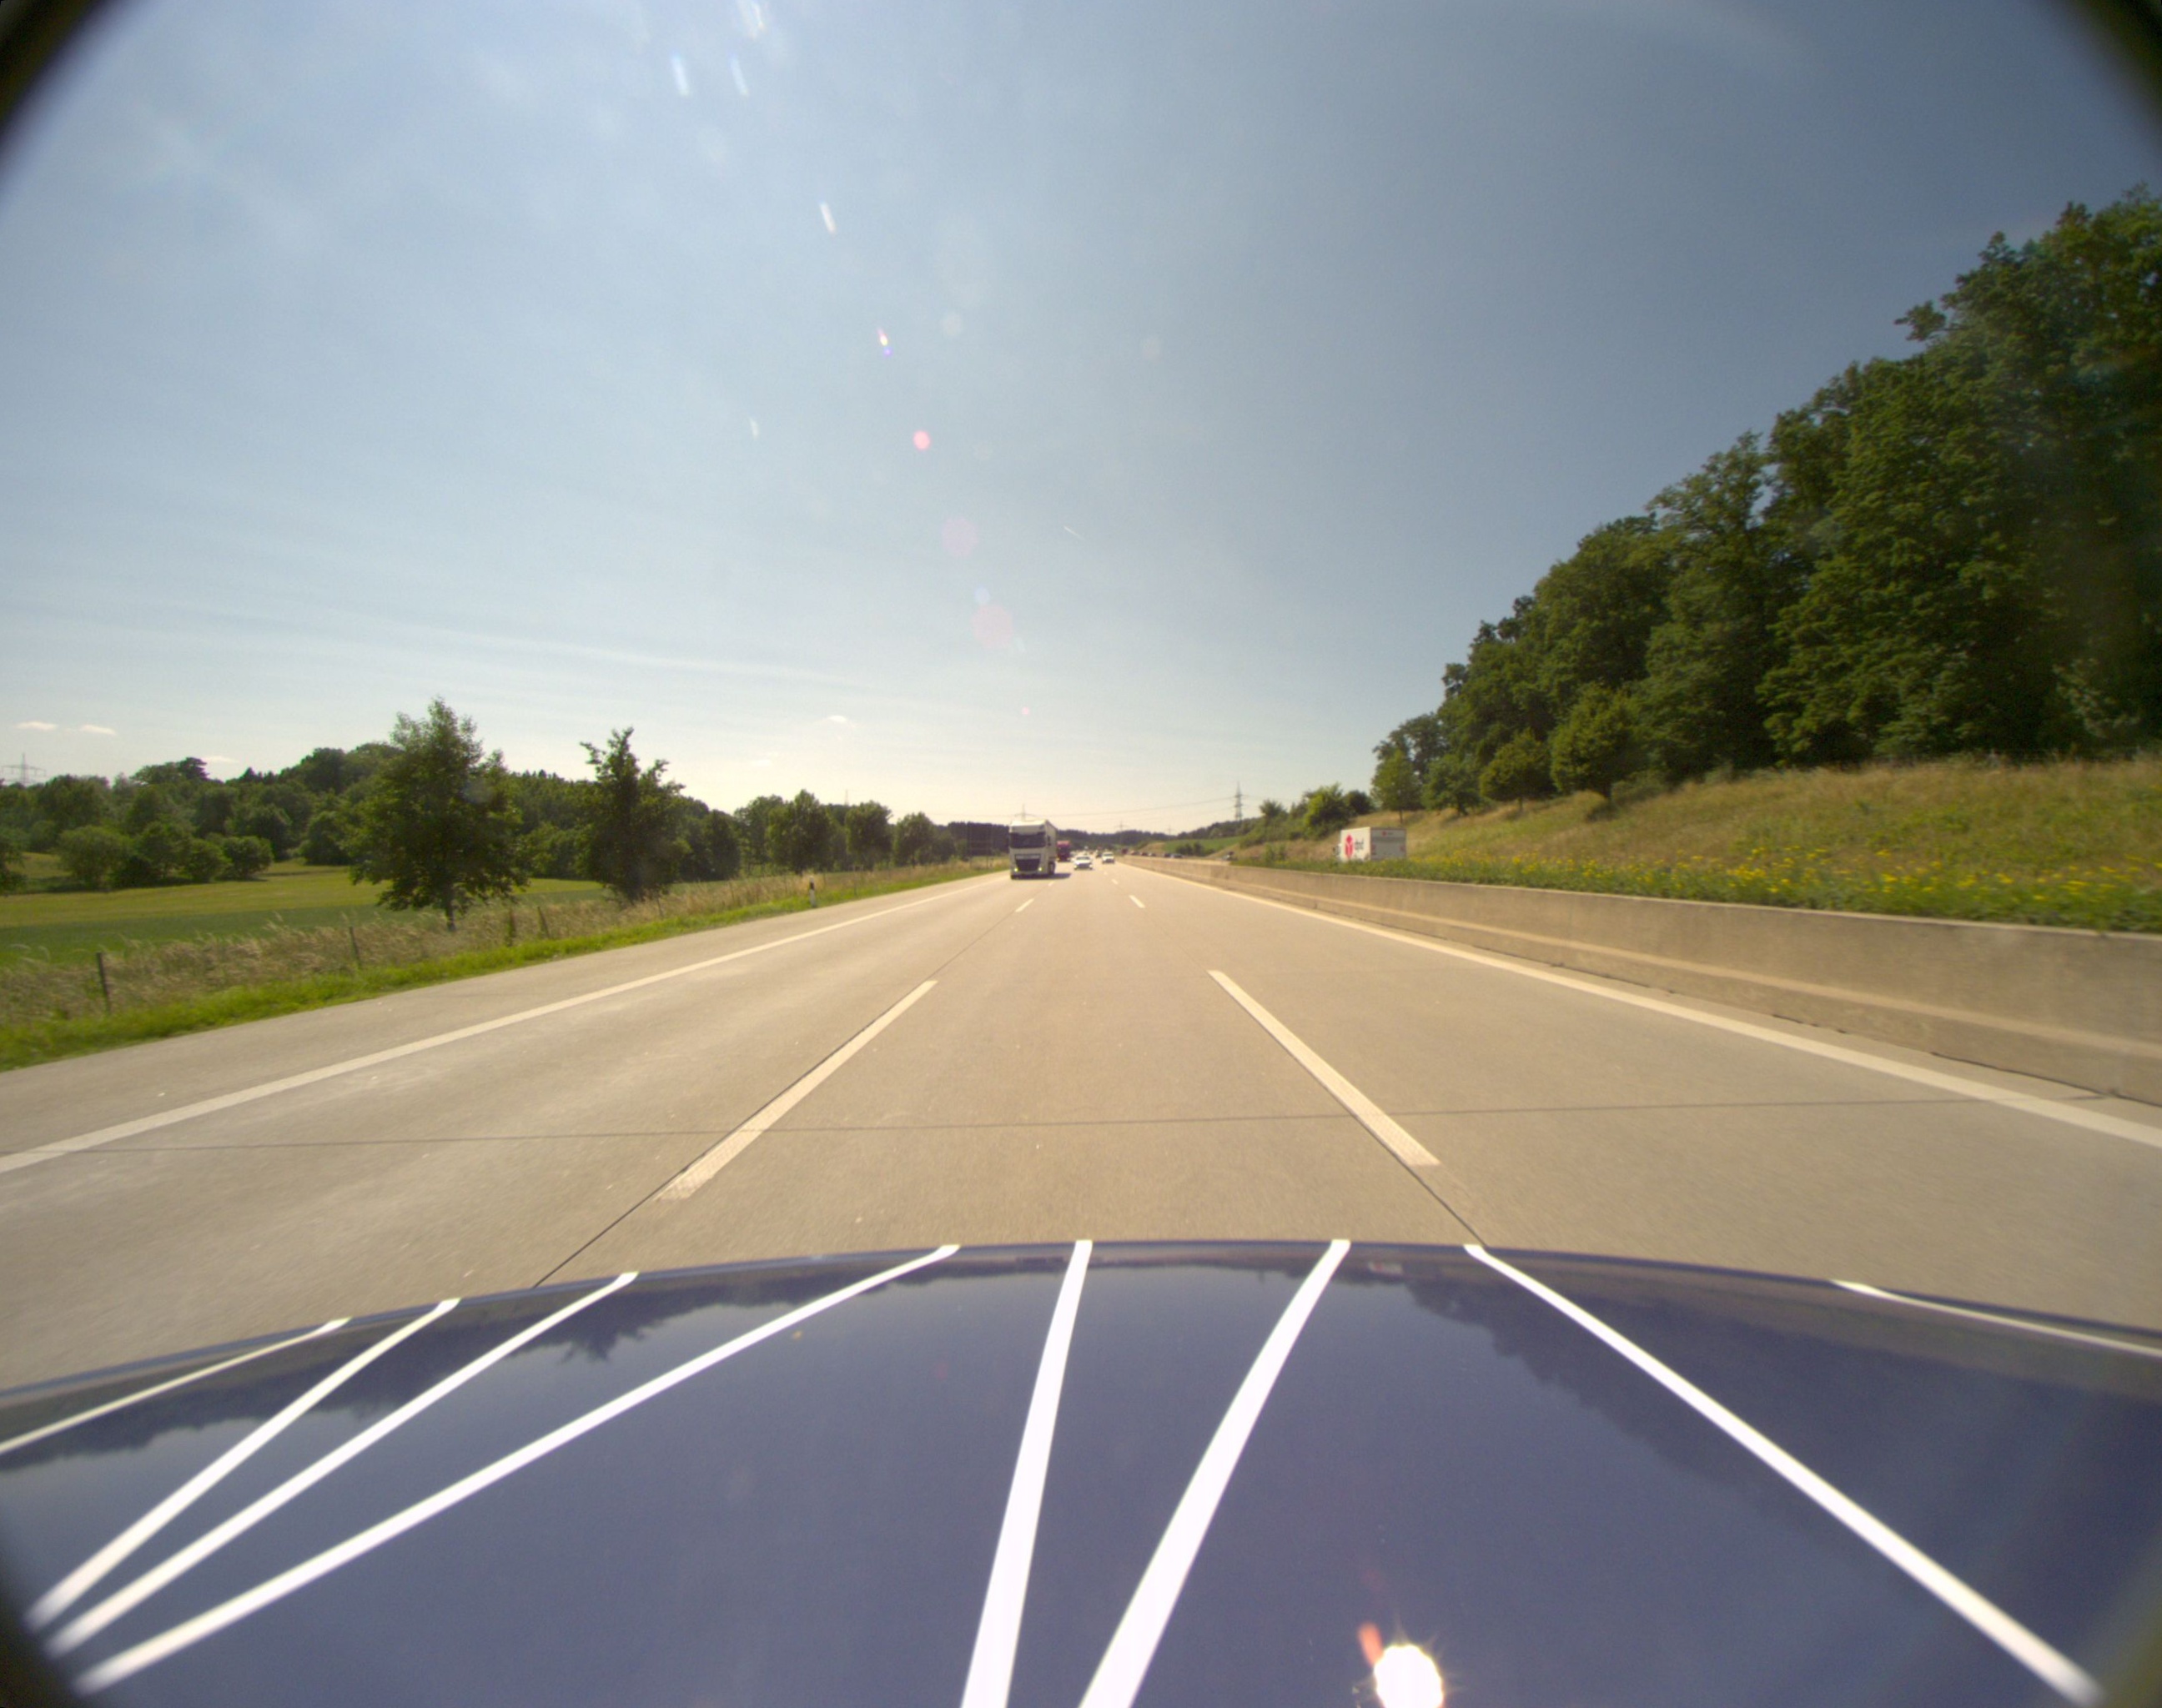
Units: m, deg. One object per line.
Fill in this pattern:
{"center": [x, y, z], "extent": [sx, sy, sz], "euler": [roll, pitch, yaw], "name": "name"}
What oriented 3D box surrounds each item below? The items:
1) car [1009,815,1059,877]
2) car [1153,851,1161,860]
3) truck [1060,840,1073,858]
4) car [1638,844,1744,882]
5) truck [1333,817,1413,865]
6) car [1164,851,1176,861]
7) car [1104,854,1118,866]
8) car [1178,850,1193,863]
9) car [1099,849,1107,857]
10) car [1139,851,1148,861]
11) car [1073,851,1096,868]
{"center": [-3.237, -0.556, 55.508], "extent": [2.766, 4.029, 10.852], "euler": [-1, 0, 1], "name": "car"}
{"center": [18.454, 0.314, 184.795], "extent": [1.525, 2.002, 3.151], "euler": [-2, 1, 1], "name": "car"}
{"center": [-2.801, -0.962, 146.388], "extent": [2.351, 3.473, 5.245], "euler": [-2, 0, -1], "name": "truck"}
{"center": [25.888, 0.352, 32.397], "extent": [1.500, 1.392, 3.628], "euler": [-5, 0, 0], "name": "car"}
{"center": [21.715, -0.927, 57.045], "extent": [2.902, 3.333, 8.258], "euler": [0, 1, 1], "name": "truck"}
{"center": [14.736, 0.335, 126.143], "extent": [1.525, 1.647, 3.151], "euler": [-2, 1, 1], "name": "car"}
{"center": [4.450, 0.875, 113.532], "extent": [1.850, 1.698, 6.035], "euler": [-2, 1, 1], "name": "car"}
{"center": [14.009, 0.382, 101.827], "extent": [1.525, 1.632, 3.151], "euler": [-2, 1, 1], "name": "car"}
{"center": [5.859, -0.266, 200.769], "extent": [1.998, 1.836, 6.529], "euler": [-3, 0, 1], "name": "car"}
{"center": [13.751, 0.404, 166.975], "extent": [1.525, 2.002, 3.151], "euler": [-2, 1, 1], "name": "car"}
{"center": [0.356, 0.542, 77.227], "extent": [2.065, 1.472, 5.068], "euler": [-5, 0, 0], "name": "car"}
